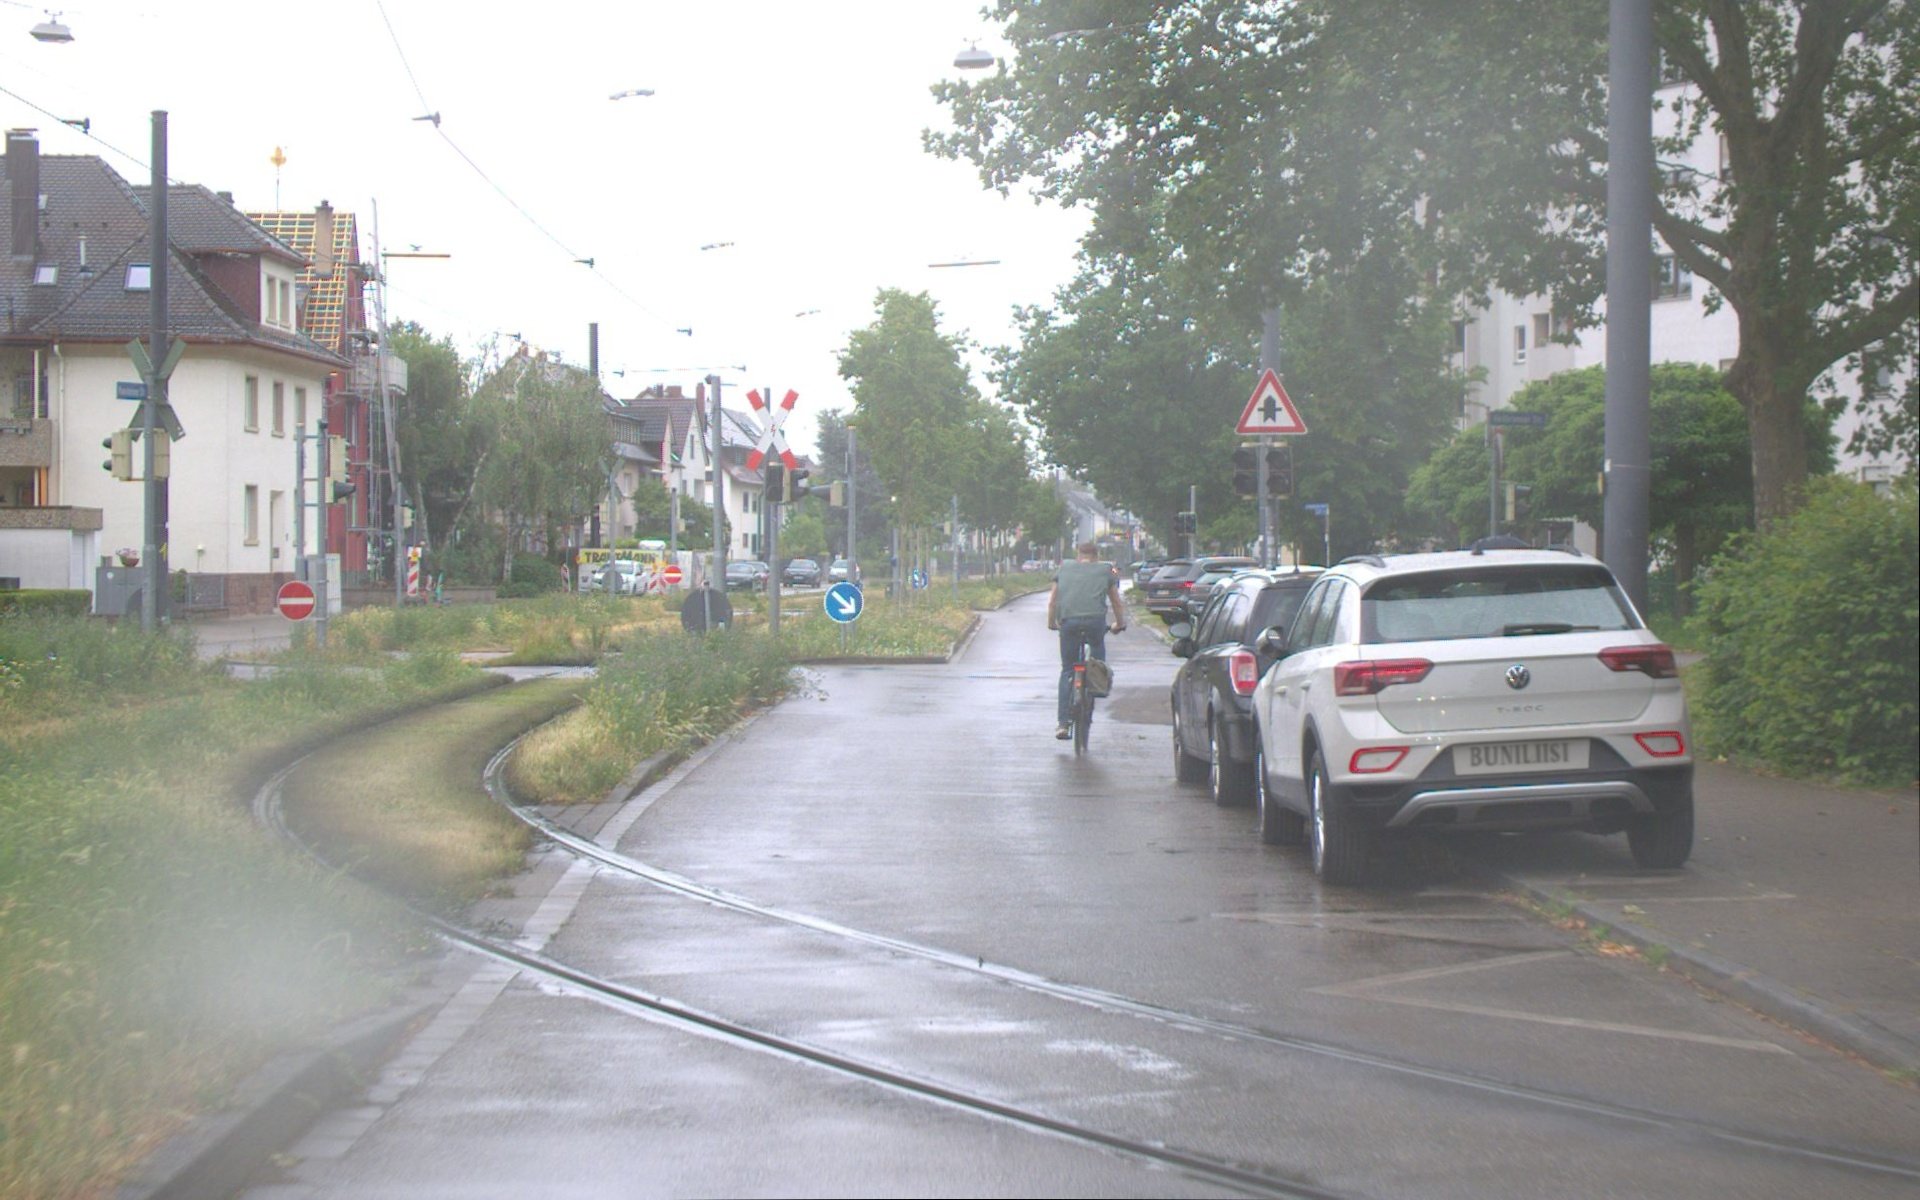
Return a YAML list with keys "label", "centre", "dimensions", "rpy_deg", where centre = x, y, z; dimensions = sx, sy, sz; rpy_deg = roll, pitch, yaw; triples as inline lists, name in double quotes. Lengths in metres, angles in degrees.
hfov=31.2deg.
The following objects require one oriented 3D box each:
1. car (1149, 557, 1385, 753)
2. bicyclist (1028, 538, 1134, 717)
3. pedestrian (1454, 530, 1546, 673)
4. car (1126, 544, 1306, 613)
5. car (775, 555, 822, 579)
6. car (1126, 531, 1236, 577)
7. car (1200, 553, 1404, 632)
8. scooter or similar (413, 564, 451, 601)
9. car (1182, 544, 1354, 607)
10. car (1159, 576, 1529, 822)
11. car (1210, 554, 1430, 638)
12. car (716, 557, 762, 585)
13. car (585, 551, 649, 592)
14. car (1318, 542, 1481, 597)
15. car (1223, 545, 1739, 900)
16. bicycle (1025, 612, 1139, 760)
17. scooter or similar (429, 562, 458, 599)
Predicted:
- label: "car"
  centre: [2.519, 0.406, 28.994]
  dimensions: [1.558, 1.514, 4.000]
  rpy_deg: [-1, 1, -1]
- label: "bicyclist"
  centre: [0.981, 0.212, 28.072]
  dimensions: [0.809, 1.428, 1.060]
  rpy_deg: [-1, 1, 0]
- label: "pedestrian"
  centre: [6.942, 0.007, 44.122]
  dimensions: [1.100, 1.807, 1.433]
  rpy_deg: [0, 1, 12]
- label: "car"
  centre: [6.361, -0.554, 85.079]
  dimensions: [4.337, 1.645, 1.857]
  rpy_deg: [-1, 1, -39]
- label: "car"
  centre: [-8.942, -1.814, 190.652]
  dimensions: [1.897, 1.240, 4.686]
  rpy_deg: [2, 1, 6]
- label: "car"
  centre: [9.237, -1.915, 143.667]
  dimensions: [4.134, 1.713, 2.000]
  rpy_deg: [-3, 2, -29]
- label: "car"
  centre: [6.984, -0.152, 70.016]
  dimensions: [3.988, 1.503, 1.705]
  rpy_deg: [-1, -1, -37]
- label: "scooter or similar"
  centre: [-16.374, -0.542, 106.605]
  dimensions: [0.441, 1.125, 1.280]
  rpy_deg: [0, 1, 32]
- label: "car"
  centre: [7.343, -0.592, 81.777]
  dimensions: [3.988, 1.424, 1.734]
  rpy_deg: [-1, 1, -39]
- label: "car"
  centre: [2.457, 0.586, 23.003]
  dimensions: [1.899, 1.444, 4.184]
  rpy_deg: [-1, 1, -1]
- label: "car"
  centre: [7.002, -0.076, 66.718]
  dimensions: [3.987, 1.503, 1.784]
  rpy_deg: [-1, -1, -34]
- label: "car"
  centre: [-10.567, -1.405, 164.799]
  dimensions: [1.663, 1.240, 4.071]
  rpy_deg: [2, 1, 4]
- label: "car"
  centre: [-13.478, -1.129, 135.254]
  dimensions: [1.710, 1.537, 4.421]
  rpy_deg: [2, 1, 4]
- label: "car"
  centre: [14.149, -0.987, 110.736]
  dimensions: [4.801, 1.739, 2.001]
  rpy_deg: [0, 1, -12]
- label: "car"
  centre: [2.499, 0.520, 17.497]
  dimensions: [1.899, 1.569, 4.112]
  rpy_deg: [-1, 1, -1]
- label: "bicycle"
  centre: [0.975, 0.674, 28.007]
  dimensions: [0.809, 1.093, 2.517]
  rpy_deg: [-1, 1, -1]
- label: "scooter or similar"
  centre: [-16.475, -0.630, 109.713]
  dimensions: [0.394, 1.176, 1.282]
  rpy_deg: [0, 1, 17]
